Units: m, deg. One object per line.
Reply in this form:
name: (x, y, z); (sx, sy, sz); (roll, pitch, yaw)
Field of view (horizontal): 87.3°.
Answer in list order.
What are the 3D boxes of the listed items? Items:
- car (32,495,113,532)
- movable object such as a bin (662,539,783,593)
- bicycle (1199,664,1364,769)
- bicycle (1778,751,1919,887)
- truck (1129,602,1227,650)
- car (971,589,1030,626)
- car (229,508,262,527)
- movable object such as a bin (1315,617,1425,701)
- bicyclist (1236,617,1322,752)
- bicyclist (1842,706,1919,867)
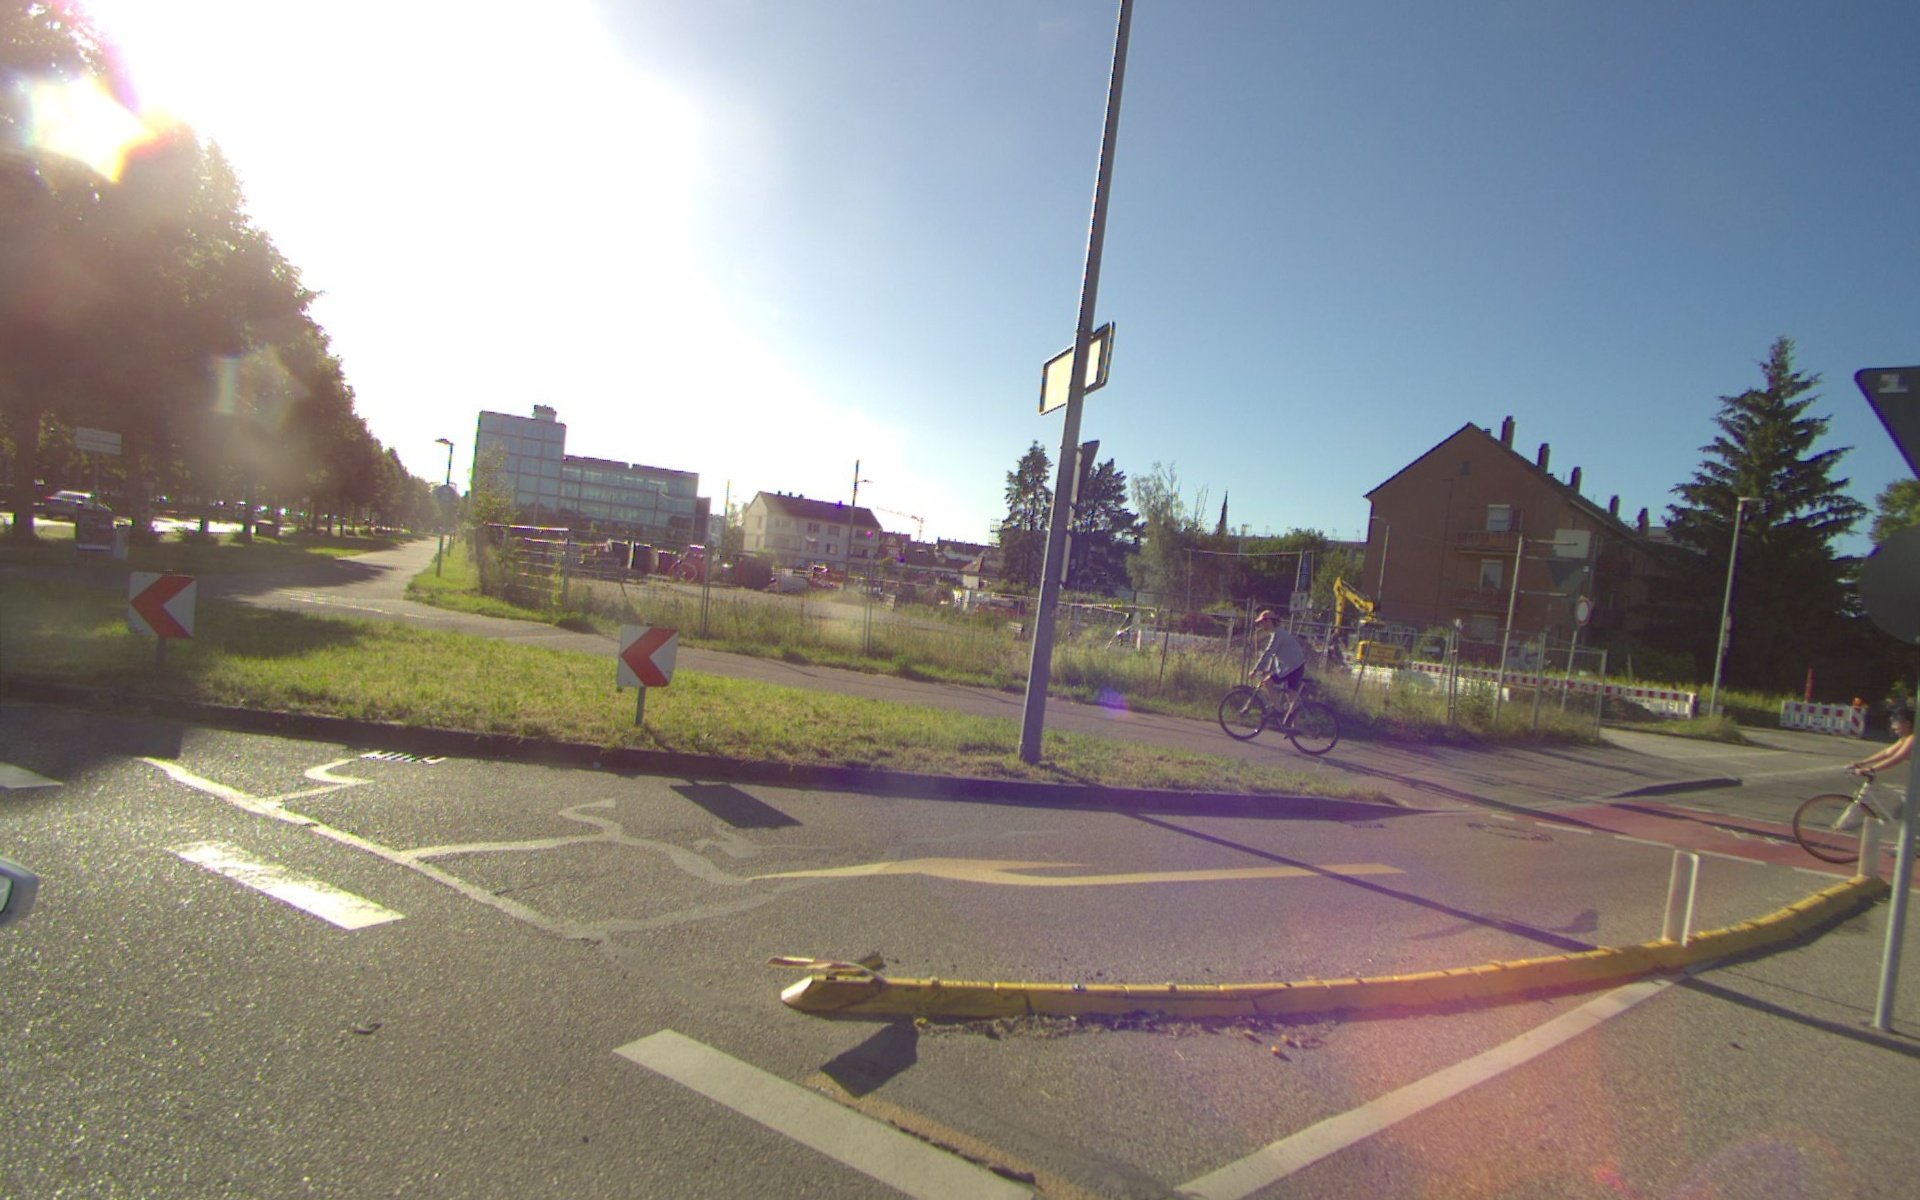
car: (-45.938, -4.480, 52.185); (1.976, 1.595, 4.376); (6, 2, -27)
movable object such as a bin: (-16.987, -2.412, 71.930); (7.831, 2.818, 2.925); (7, 1, -24)
bicycle: (4.443, 1.570, 13.930); (1.974, 1.042, 0.740); (8, 4, 26)
bicycle: (8.952, 2.119, 9.483); (1.799, 1.040, 0.657); (8, 1, 43)
truck: (12.917, 1.515, 60.209); (2.144, 2.038, 6.396); (9, 0, -24)
car: (2.899, 0.514, 72.915); (1.980, 2.038, 4.461); (8, 1, -31)
car: (-69.781, -8.077, 98.309); (1.976, 1.595, 4.375); (6, 2, -27)
movable object such as a bin: (16.508, 2.330, 40.768); (2.383, 2.807, 3.998); (9, 1, -1)
bicyclist: (4.419, 1.137, 13.919); (0.839, 1.704, 0.740); (8, 4, 26)
bicyclist: (8.995, 1.765, 9.471); (0.922, 1.401, 0.657); (6, -1, 43)
